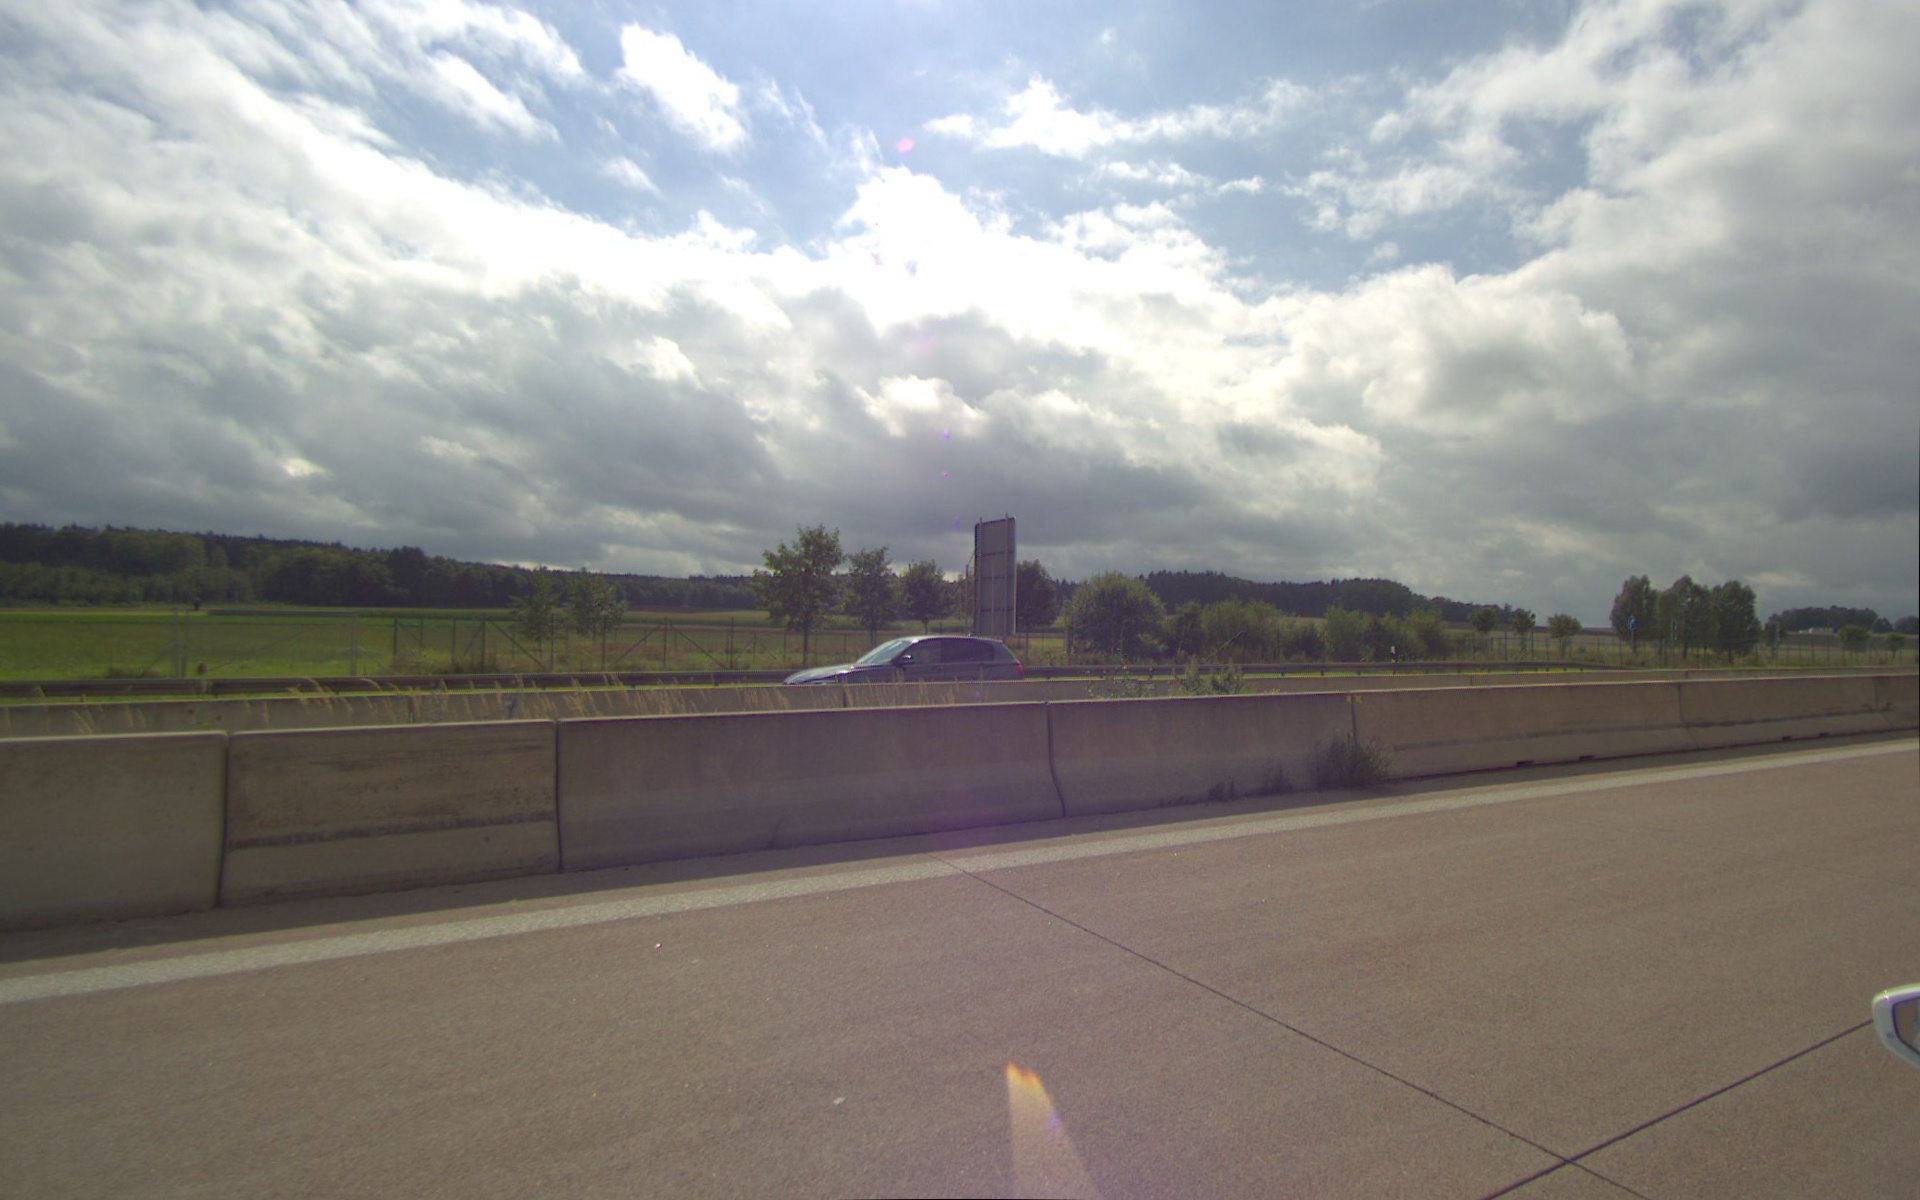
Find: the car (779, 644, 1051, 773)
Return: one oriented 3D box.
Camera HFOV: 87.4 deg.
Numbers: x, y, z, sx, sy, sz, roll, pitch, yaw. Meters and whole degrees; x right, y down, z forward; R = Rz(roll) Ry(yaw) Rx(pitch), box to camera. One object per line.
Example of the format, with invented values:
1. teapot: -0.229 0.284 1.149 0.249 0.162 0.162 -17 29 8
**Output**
1. car: -0.726 1.699 16.911 4.148 1.886 1.983 1 -2 -31
